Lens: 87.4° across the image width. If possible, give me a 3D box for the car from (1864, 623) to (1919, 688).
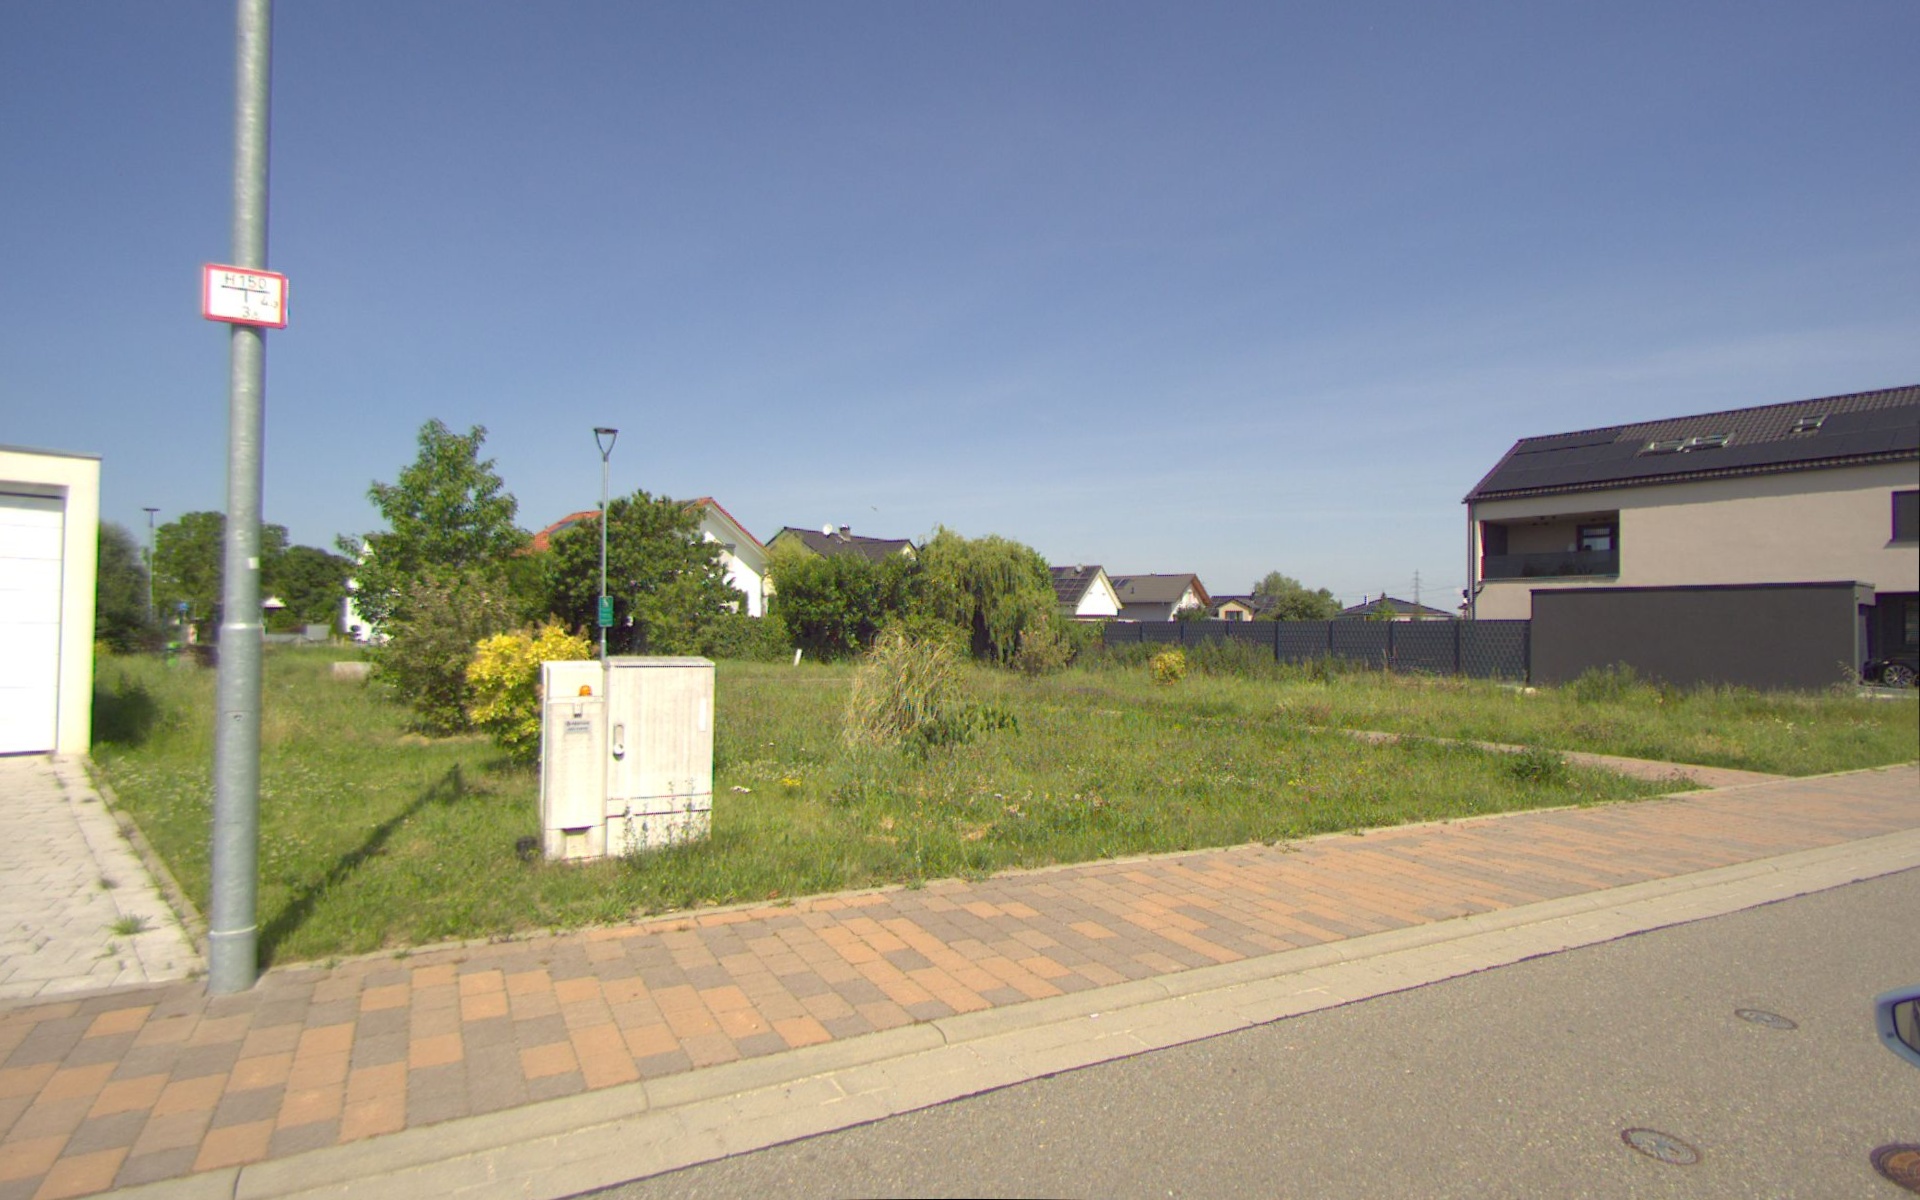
[{"bbox_3d":[26.596,1.554,26.107,1.754,1.653,4.343,2,1,-37],"label":"car"}]
